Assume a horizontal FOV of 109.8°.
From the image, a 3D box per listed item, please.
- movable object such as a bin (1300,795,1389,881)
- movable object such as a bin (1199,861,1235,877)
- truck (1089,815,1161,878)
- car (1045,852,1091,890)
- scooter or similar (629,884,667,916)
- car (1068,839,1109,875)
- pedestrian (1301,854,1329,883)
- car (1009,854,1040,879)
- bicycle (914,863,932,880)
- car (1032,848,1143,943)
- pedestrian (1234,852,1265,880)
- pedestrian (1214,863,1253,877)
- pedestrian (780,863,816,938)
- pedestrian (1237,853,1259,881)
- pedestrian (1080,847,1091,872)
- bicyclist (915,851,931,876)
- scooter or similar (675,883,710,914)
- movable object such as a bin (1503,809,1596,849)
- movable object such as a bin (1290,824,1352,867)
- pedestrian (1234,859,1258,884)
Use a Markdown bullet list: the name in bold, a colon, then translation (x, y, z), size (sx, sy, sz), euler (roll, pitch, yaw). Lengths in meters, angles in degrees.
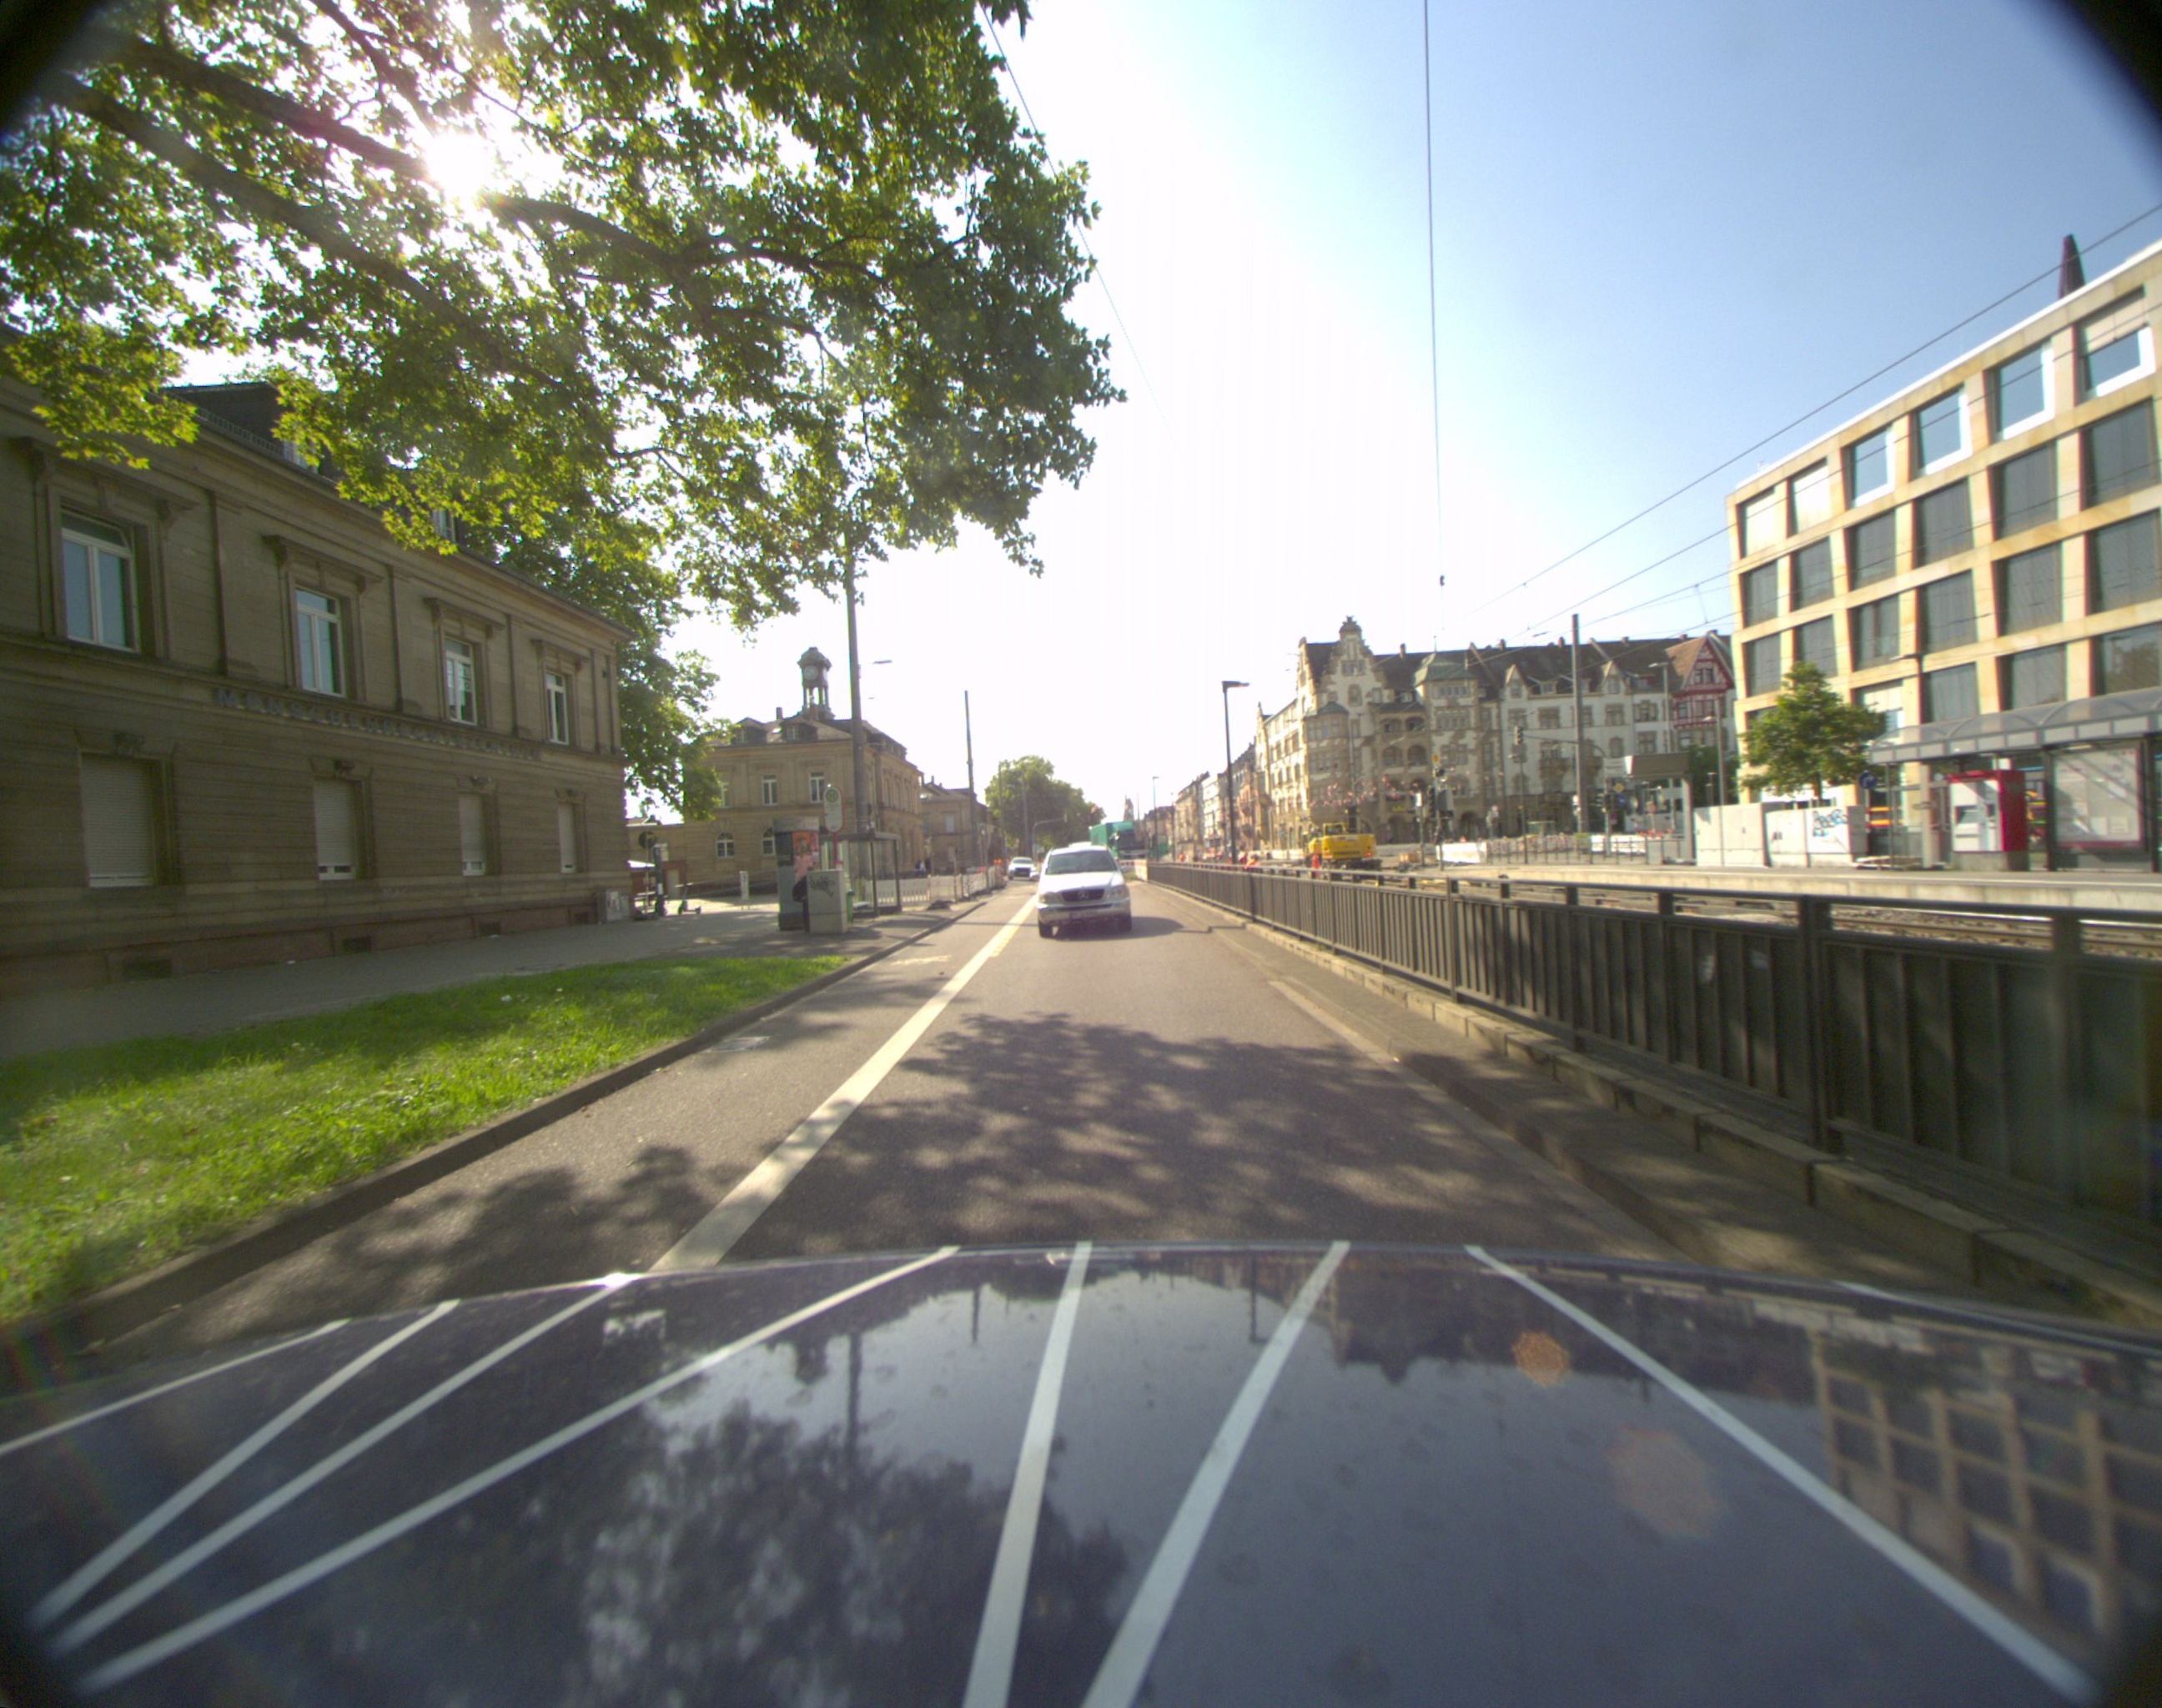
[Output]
- **movable object such as a bin**: translation (14.398, -0.806, 40.943), size (3.507, 3.989, 9.056), euler (-3, 0, 25)
- **movable object such as a bin**: translation (6.354, 0.711, 35.538), size (1.507, 0.649, 0.702), euler (-3, 0, 22)
- **truck**: translation (2.704, -0.418, 49.819), size (2.683, 3.656, 8.207), euler (-3, 0, -10)
- **car**: translation (-0.579, 0.793, 37.401), size (1.998, 1.685, 5.226), euler (-3, 0, 1)
- **scooter or similar**: translation (-17.273, 1.831, 30.362), size (1.256, 1.202, 0.422), euler (-2, -2, -24)
- **car**: translation (0.525, 0.241, 61.681), size (2.232, 2.713, 5.166), euler (-3, 0, -11)
- **pedestrian**: translation (10.966, 0.690, 35.674), size (1.017, 1.299, 0.983), euler (-3, 0, 4)
- **car**: translation (-4.304, 0.949, 57.604), size (2.000, 1.685, 5.222), euler (-3, 0, -7)
- **bicycle**: translation (-9.691, 1.065, 46.632), size (0.719, 1.036, 1.903), euler (-3, 0, -2)
- **car**: translation (0.118, 0.780, 16.856), size (1.999, 1.685, 5.225), euler (-3, 0, 0)
- **pedestrian**: translation (8.227, 0.579, 37.100), size (1.313, 1.299, 0.800), euler (-3, 0, 25)
- **pedestrian**: translation (8.139, 0.859, 40.622), size (1.906, 0.632, 0.913), euler (-3, 0, 4)
- **pedestrian**: translation (-6.607, 1.064, 17.741), size (0.690, 1.687, 0.647), euler (-3, 0, -20)
- **pedestrian**: translation (7.964, 0.602, 36.211), size (0.838, 1.299, 0.800), euler (-3, 0, 25)
- **pedestrian**: translation (0.364, 0.455, 63.228), size (0.735, 2.002, 0.907), euler (-2, 1, 6)
- **bicyclist**: translation (-9.713, 0.577, 46.634), size (0.719, 1.534, 0.955), euler (-3, 0, -2)
- **scooter or similar**: translation (-15.767, 1.801, 30.825), size (0.421, 1.202, 1.257), euler (-3, -2, 23)
- **movable object such as a bin**: translation (35.434, -1.862, 57.564), size (5.627, 2.723, 2.135), euler (-3, 1, 0)
- **movable object such as a bin**: translation (20.325, -0.688, 64.946), size (2.853, 3.310, 8.347), euler (-2, 0, 2)
- **pedestrian**: translation (8.362, 0.895, 38.490), size (0.983, 1.183, 0.800), euler (-3, 0, 25)
